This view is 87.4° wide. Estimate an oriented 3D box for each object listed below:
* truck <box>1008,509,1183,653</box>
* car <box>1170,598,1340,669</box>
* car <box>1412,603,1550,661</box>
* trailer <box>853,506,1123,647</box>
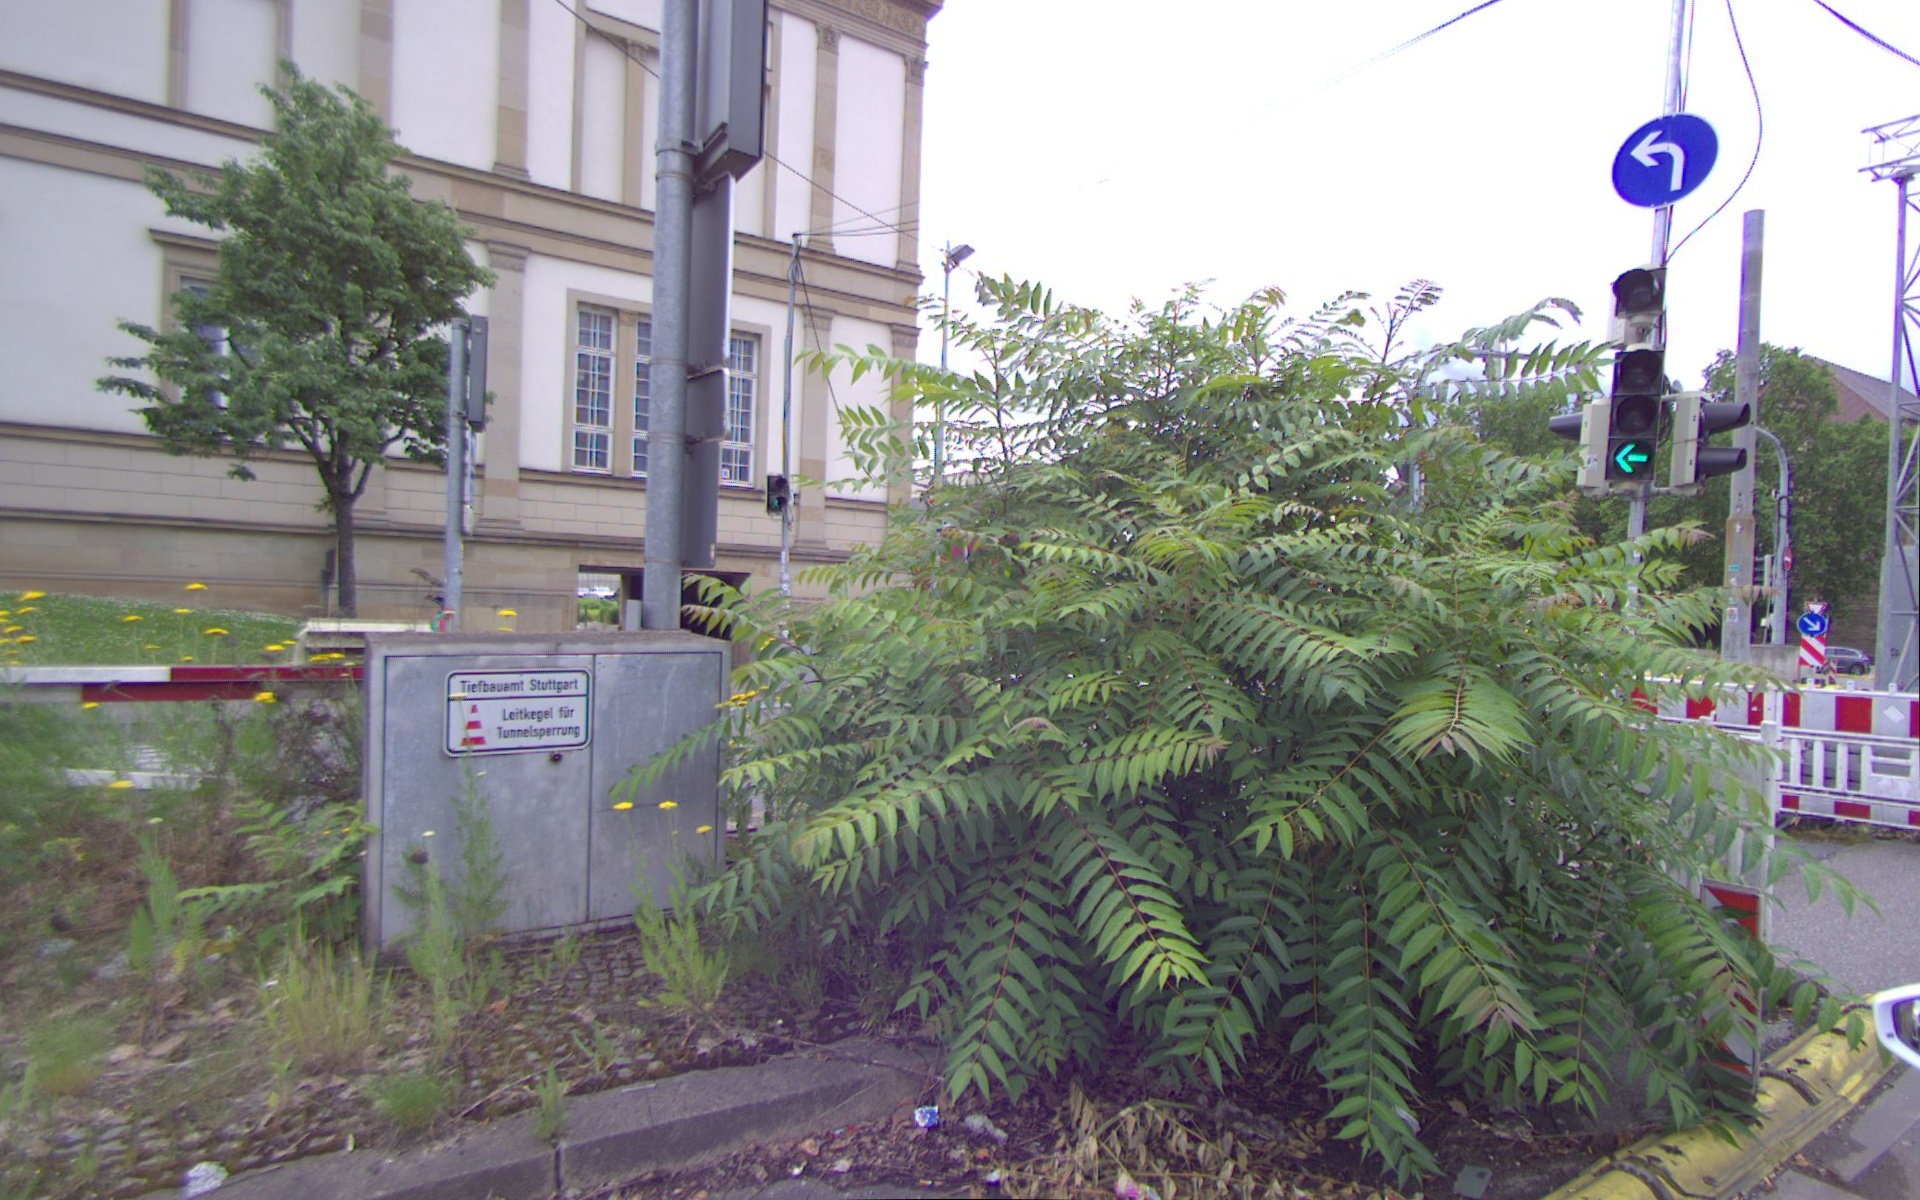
[{"bbox_3d":[4.156,-0.528,31.619,2.914,4.117,4.847,2,-1,-33],"label":"truck"},{"bbox_3d":[7.497,0.830,25.866,1.809,1.646,4.033,2,-1,-31],"label":"car"},{"bbox_3d":[30.089,1.786,58.244,2.354,3.092,6.677,2,-1,-41],"label":"car"},{"bbox_3d":[0.366,-0.744,37.637,2.916,4.338,13.666,2,-1,-32],"label":"trailer"}]
